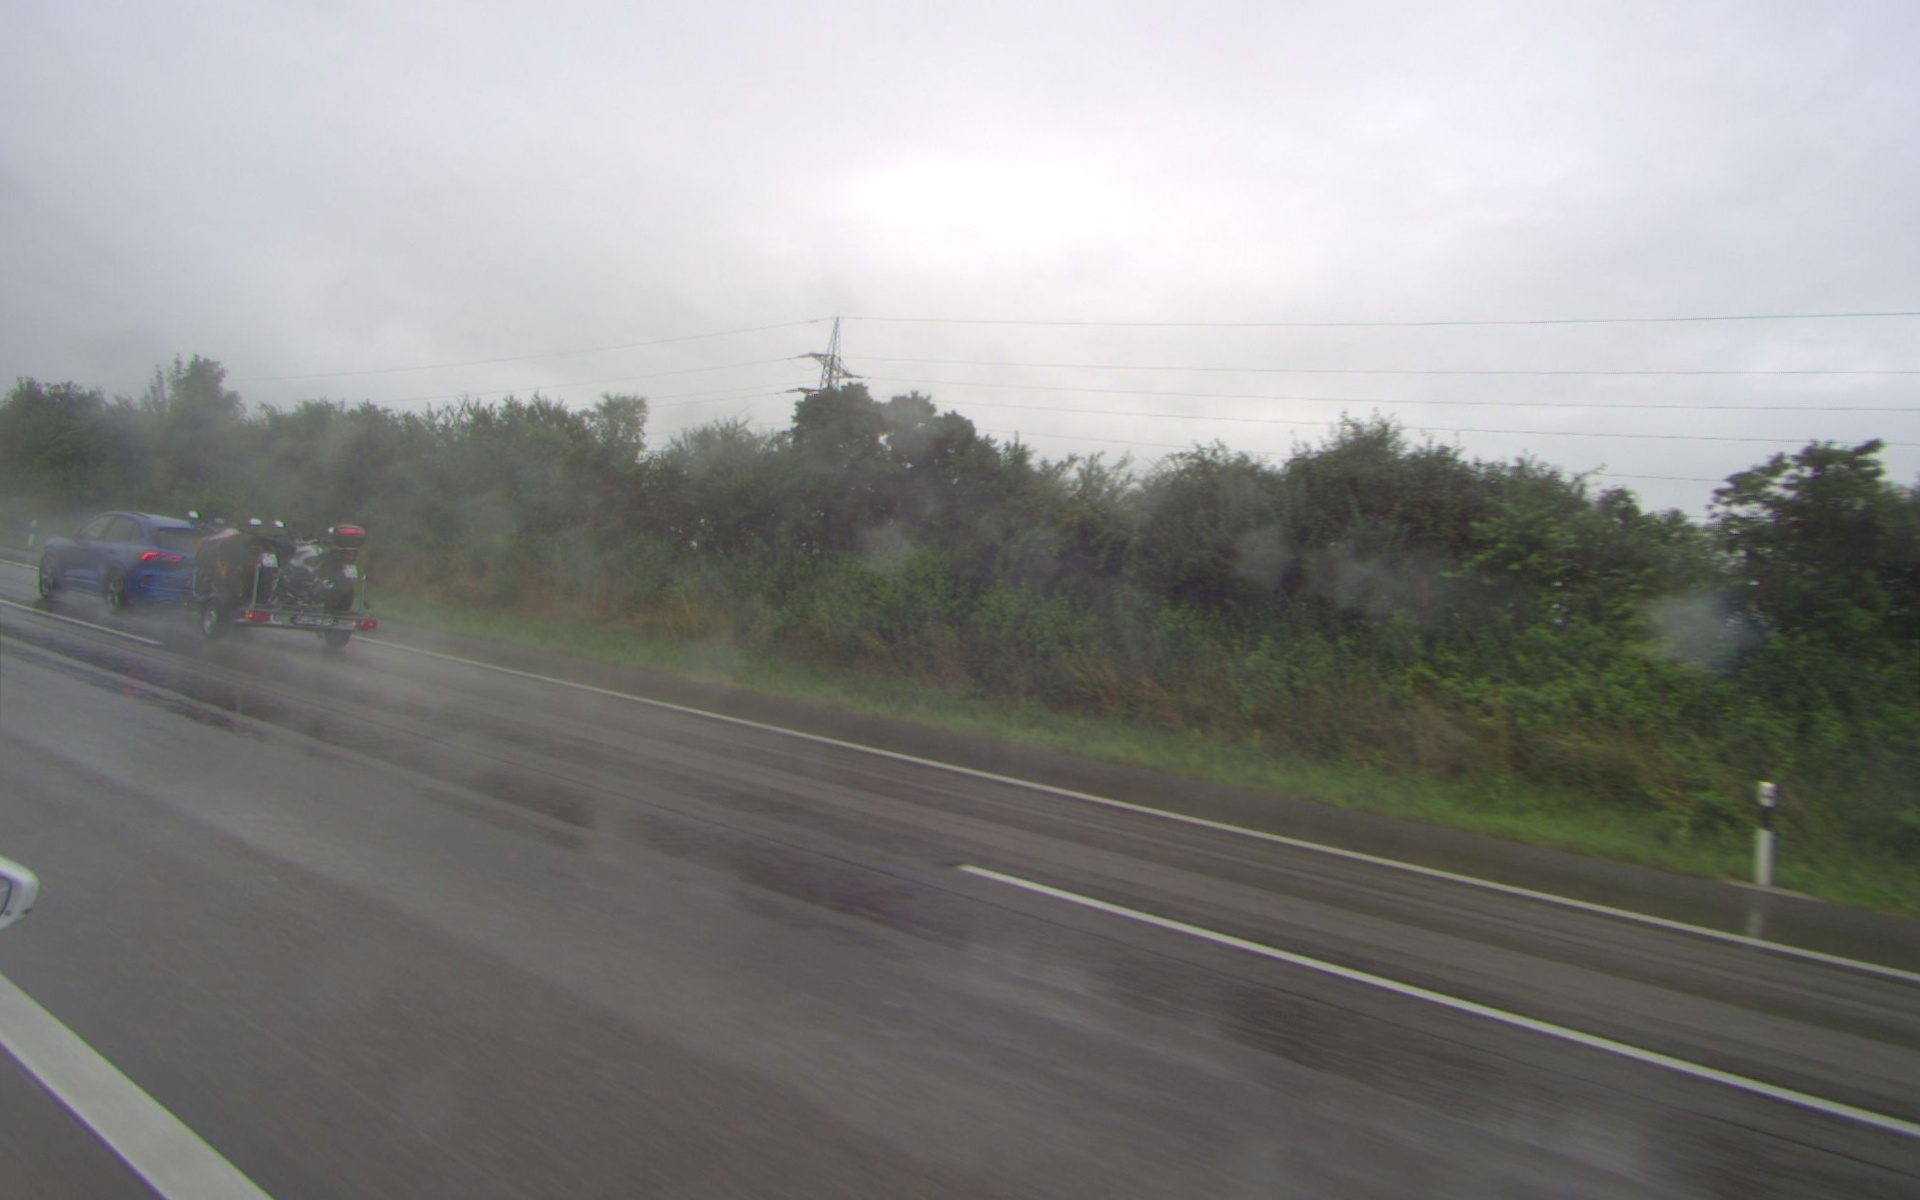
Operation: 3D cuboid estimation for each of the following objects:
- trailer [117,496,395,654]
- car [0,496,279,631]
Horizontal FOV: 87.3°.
[{"bbox_3d":[-10.052,-0.355,14.385,3.135,1.806,1.983,6,-2,30],"label":"trailer"},{"bbox_3d":[-13.576,-0.621,16.412,4.907,1.638,1.998,6,-2,29],"label":"car"}]
